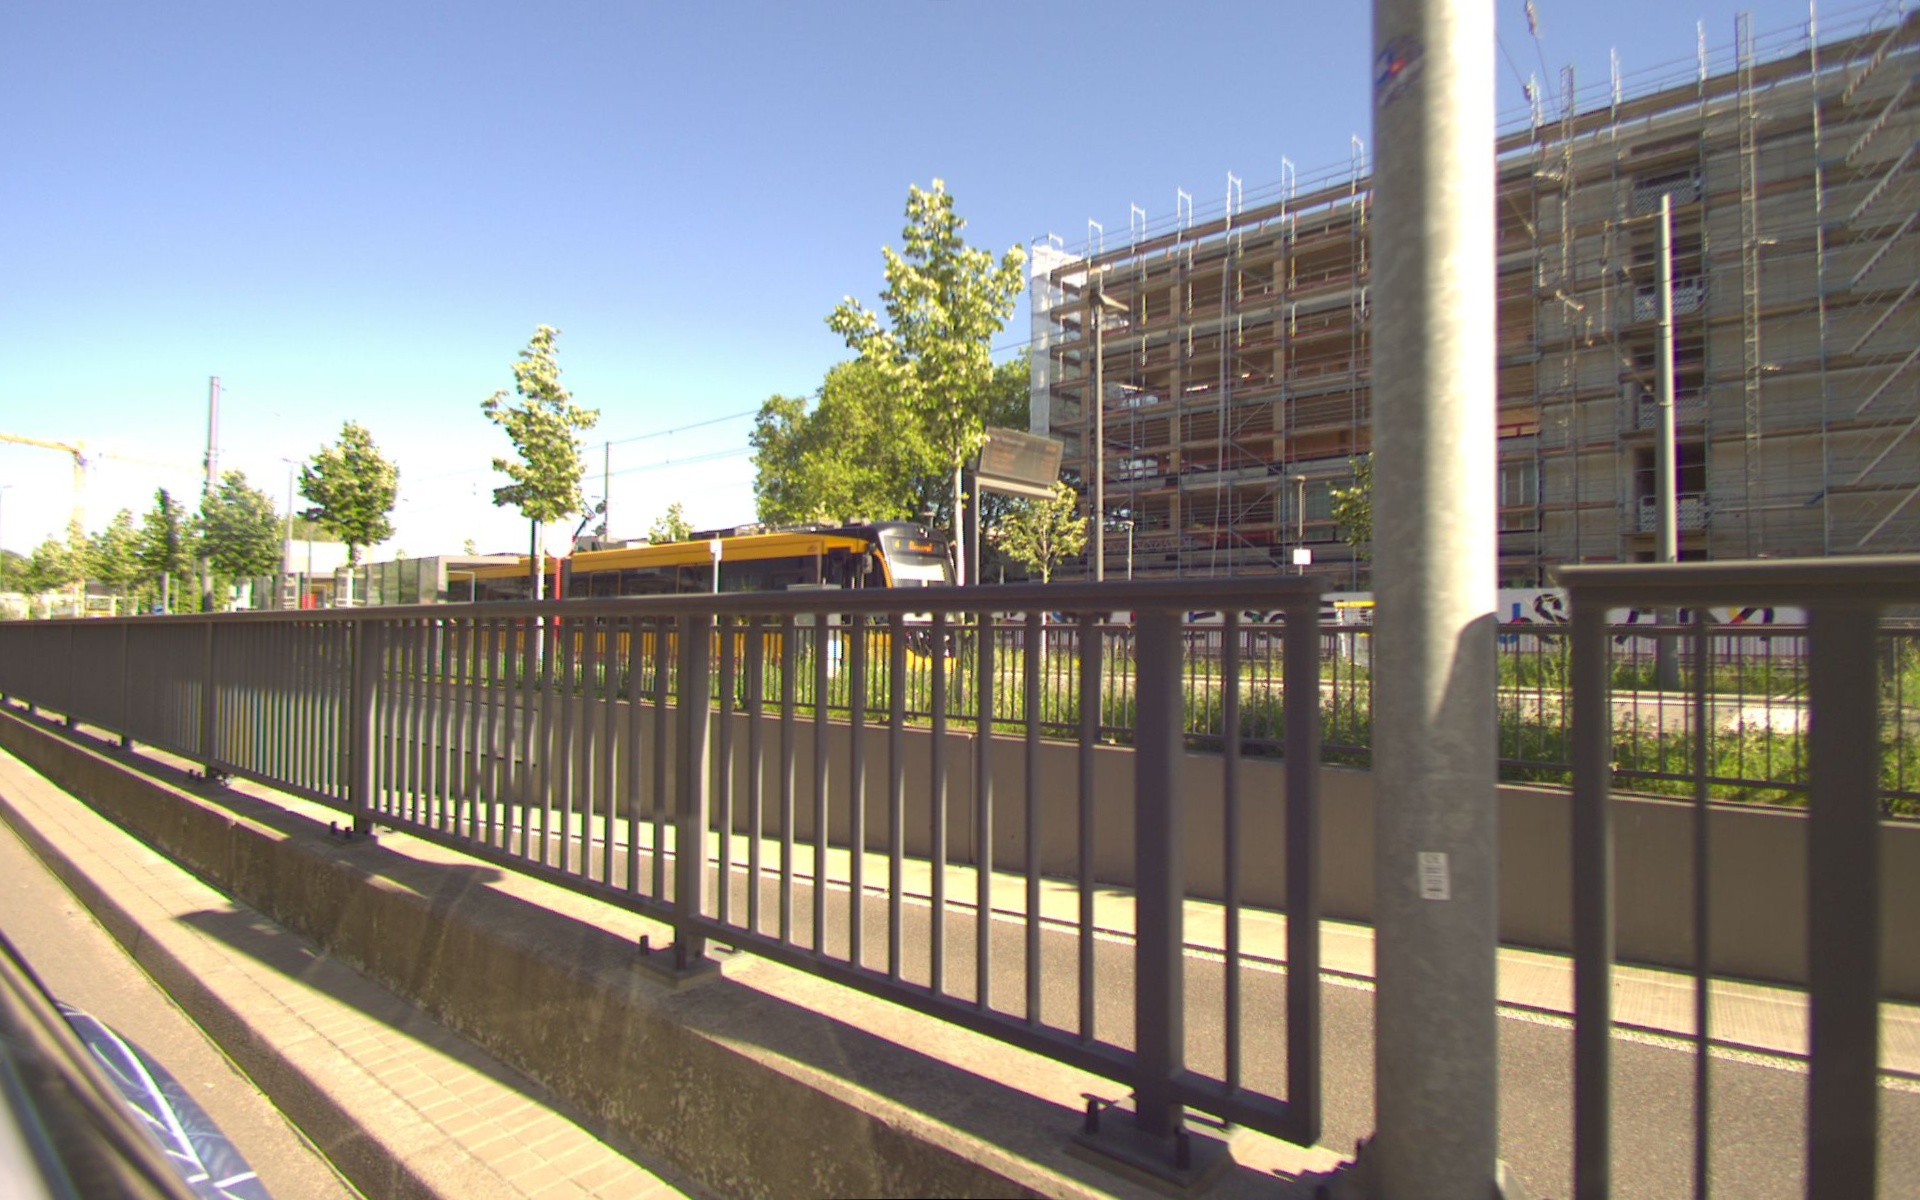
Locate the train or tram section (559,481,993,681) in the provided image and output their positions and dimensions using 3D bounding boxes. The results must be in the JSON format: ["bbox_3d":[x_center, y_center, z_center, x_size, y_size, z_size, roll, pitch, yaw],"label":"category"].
[{"bbox_3d":[-5.008,-0.197,23.865,12.785,3.666,2.785,-1,-3,42],"label":"train or tram section"}]

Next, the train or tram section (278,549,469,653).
[{"bbox_3d":[-24.044,0.186,40.949,12.785,3.666,2.785,-1,-3,42],"label":"train or tram section"}]

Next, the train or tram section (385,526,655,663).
[{"bbox_3d":[-14.526,-0.002,32.416,12.785,3.666,2.785,-1,-3,42],"label":"train or tram section"}]
